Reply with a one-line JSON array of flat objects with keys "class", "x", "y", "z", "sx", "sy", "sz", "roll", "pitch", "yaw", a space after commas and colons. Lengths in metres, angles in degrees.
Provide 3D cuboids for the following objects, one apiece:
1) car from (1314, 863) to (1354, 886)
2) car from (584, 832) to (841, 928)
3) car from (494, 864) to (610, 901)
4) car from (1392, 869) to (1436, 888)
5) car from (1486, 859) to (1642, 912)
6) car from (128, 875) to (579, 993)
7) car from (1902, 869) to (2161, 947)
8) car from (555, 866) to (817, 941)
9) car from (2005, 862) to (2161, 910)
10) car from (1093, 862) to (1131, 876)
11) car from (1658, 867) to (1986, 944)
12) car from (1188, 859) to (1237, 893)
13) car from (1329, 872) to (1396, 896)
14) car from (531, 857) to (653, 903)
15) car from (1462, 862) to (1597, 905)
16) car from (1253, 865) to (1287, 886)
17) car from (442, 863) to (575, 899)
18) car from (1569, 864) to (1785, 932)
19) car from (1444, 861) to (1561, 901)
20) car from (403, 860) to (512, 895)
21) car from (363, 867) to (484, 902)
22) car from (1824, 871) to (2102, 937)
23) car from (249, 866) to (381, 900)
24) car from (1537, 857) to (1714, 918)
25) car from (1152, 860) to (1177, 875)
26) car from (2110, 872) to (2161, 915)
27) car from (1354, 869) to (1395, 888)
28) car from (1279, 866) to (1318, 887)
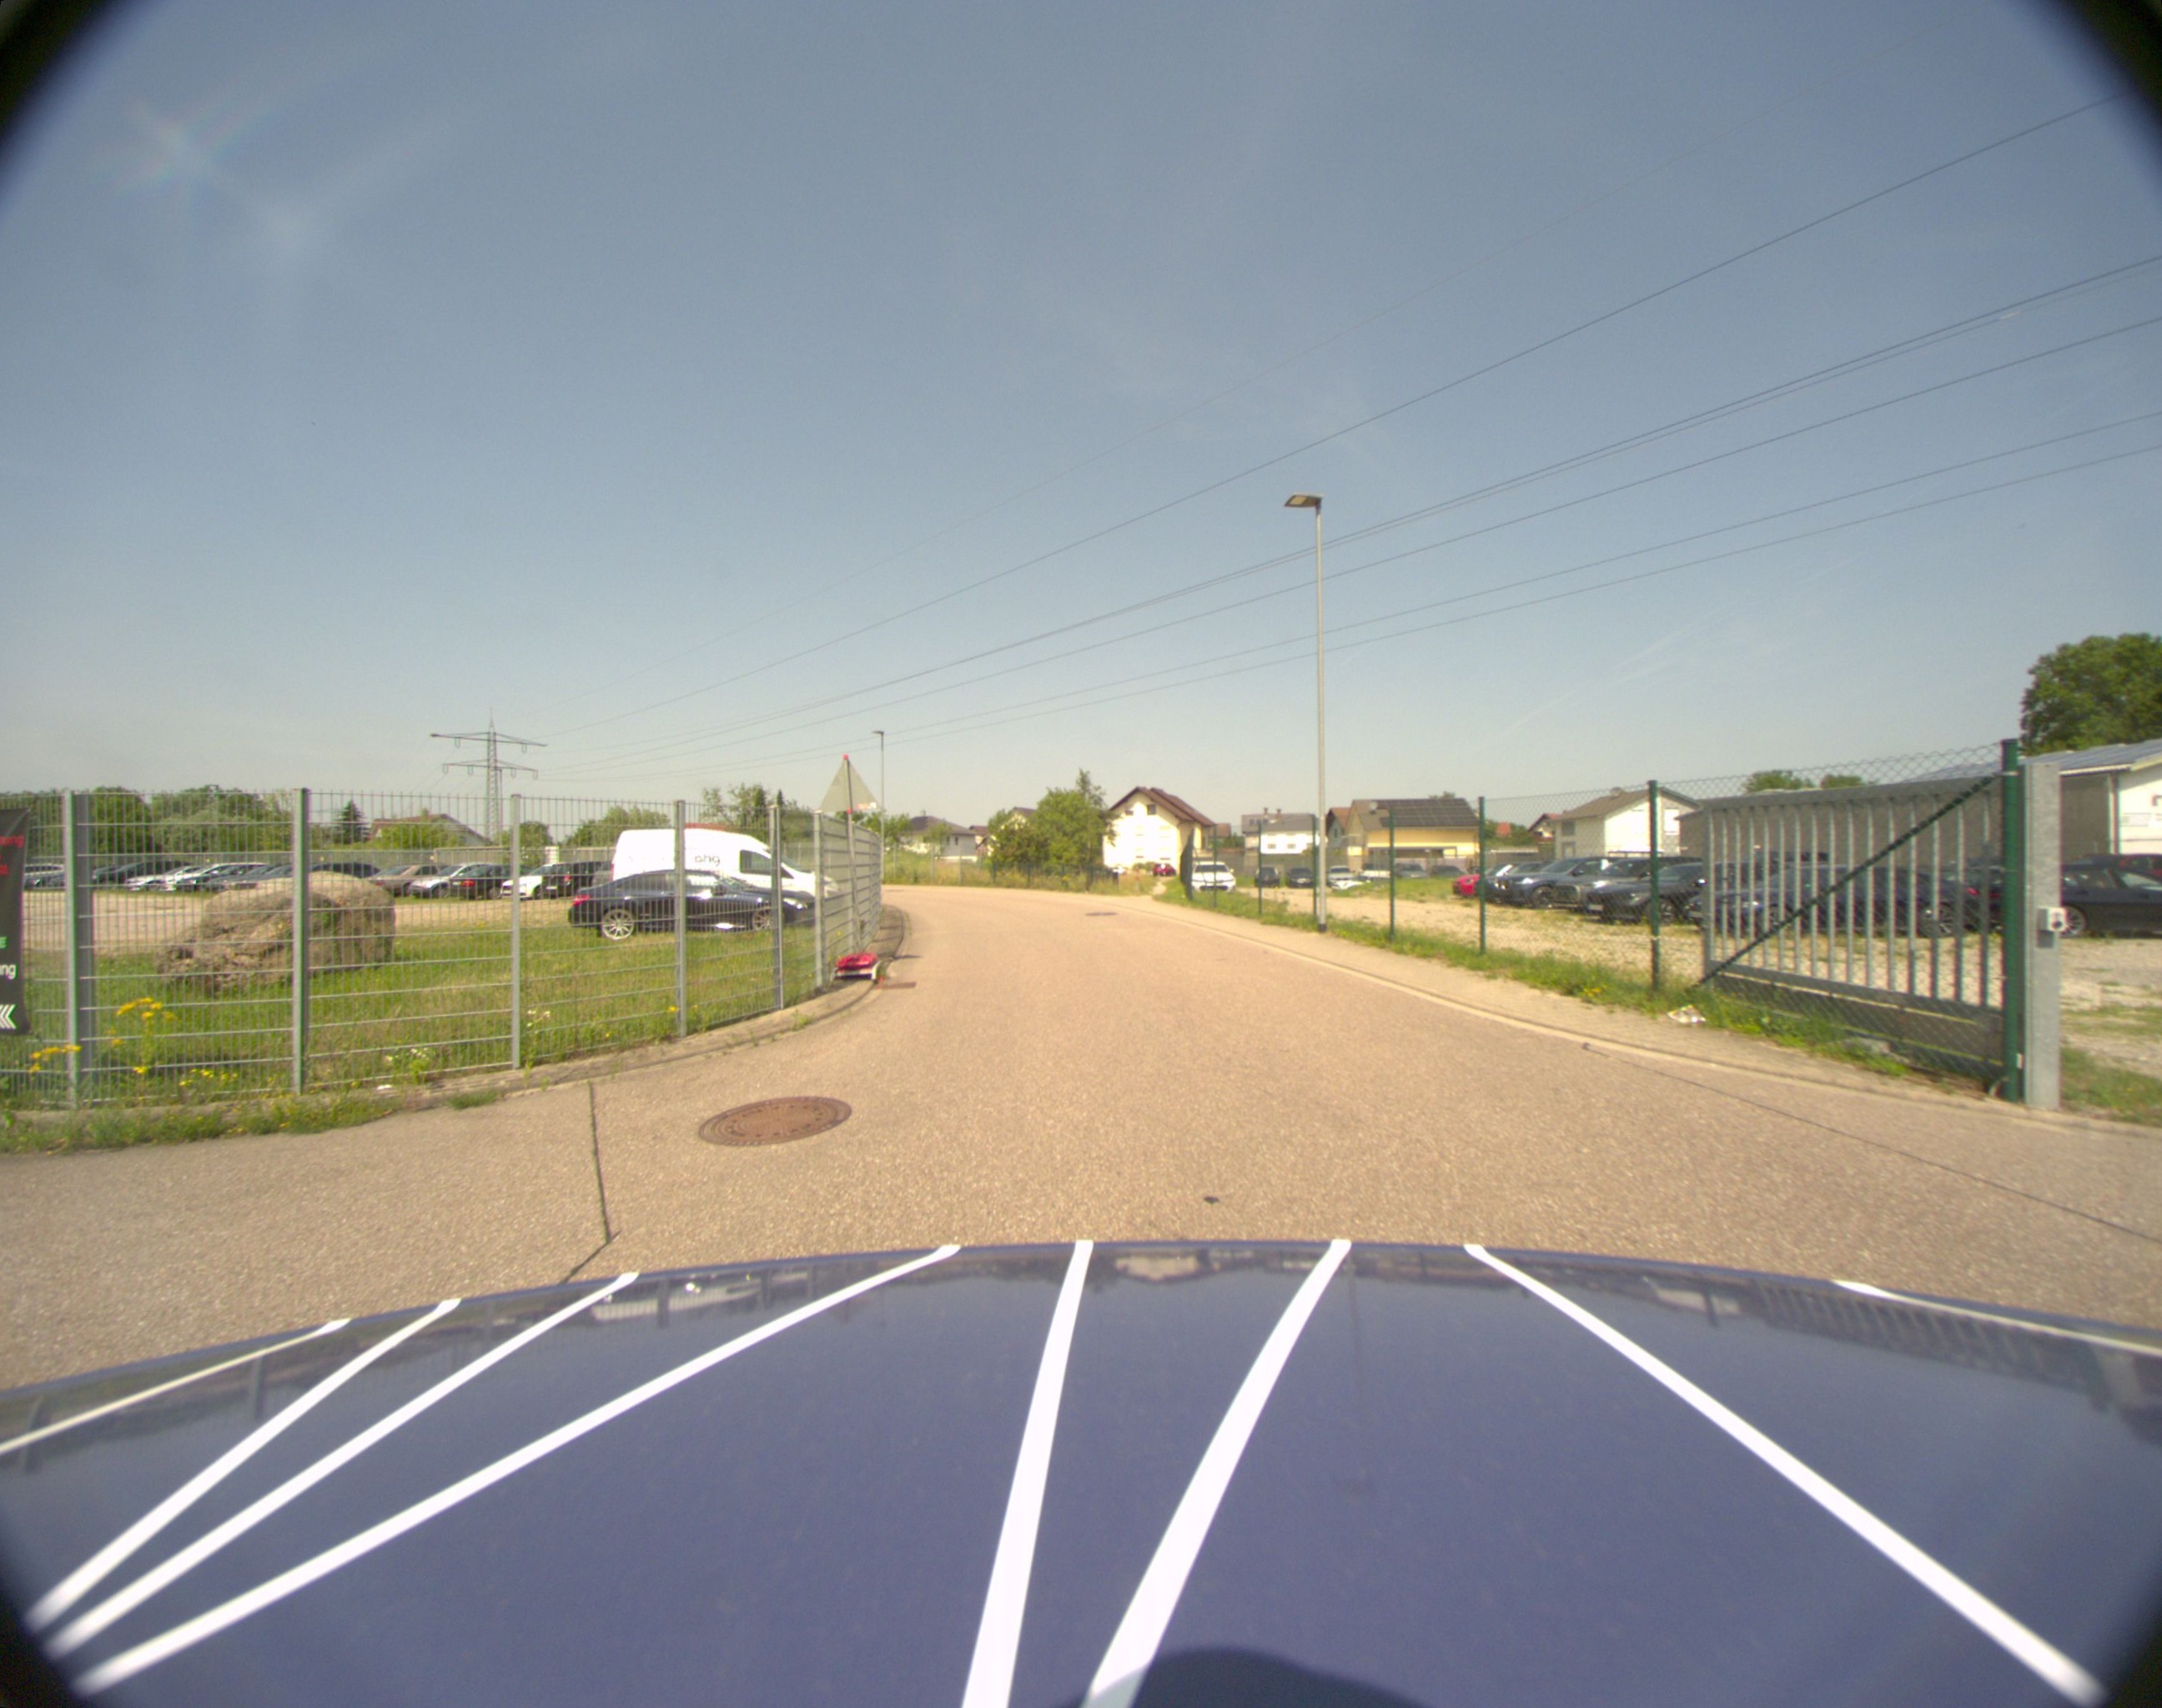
[{"class": "car", "x": 18.401, "y": 1.458, "z": 55.441, "sx": 2.039, "sy": 1.527, "sz": 4.137, "roll": 0, "pitch": 0, "yaw": 7}, {"class": "car", "x": -8.678, "y": 0.560, "z": 18.487, "sx": 5.346, "sy": 2.136, "sz": 1.904, "roll": 0, "pitch": 0, "yaw": -16}, {"class": "car", "x": -21.522, "y": 1.115, "z": 31.045, "sx": 1.632, "sy": 1.381, "sz": 3.541, "roll": 0, "pitch": 0, "yaw": 23}, {"class": "car", "x": 23.946, "y": 1.757, "z": 54.765, "sx": 1.791, "sy": 1.229, "sz": 4.137, "roll": 0, "pitch": 0, "yaw": 7}, {"class": "car", "x": 15.098, "y": 0.959, "z": 23.947, "sx": 3.692, "sy": 1.552, "sz": 1.869, "roll": 0, "pitch": 1, "yaw": 6}, {"class": "car", "x": -9.384, "y": 0.968, "z": 10.250, "sx": 3.931, "sy": 1.270, "sz": 1.904, "roll": 0, "pitch": 0, "yaw": -16}, {"class": "car", "x": 20.262, "y": 1.060, "z": 15.534, "sx": 4.415, "sy": 1.427, "sz": 2.003, "roll": 0, "pitch": 0, "yaw": 10}, {"class": "car", "x": -7.908, "y": 0.945, "z": 15.683, "sx": 4.436, "sy": 1.352, "sz": 1.905, "roll": 0, "pitch": 0, "yaw": -12}, {"class": "car", "x": 32.896, "y": 0.997, "z": 24.091, "sx": 4.598, "sy": 1.425, "sz": 1.869, "roll": 0, "pitch": 0, "yaw": 6}, {"class": "car", "x": 3.658, "y": 1.751, "z": 89.212, "sx": 4.076, "sy": 1.674, "sz": 1.868, "roll": 0, "pitch": 0, "yaw": 23}, {"class": "car", "x": 15.192, "y": 1.013, "z": 15.857, "sx": 4.659, "sy": 1.427, "sz": 2.003, "roll": 0, "pitch": 0, "yaw": 6}, {"class": "car", "x": 5.613, "y": 0.887, "z": 32.869, "sx": 1.866, "sy": 1.299, "sz": 4.564, "roll": 0, "pitch": 0, "yaw": 7}, {"class": "car", "x": 16.459, "y": 1.734, "z": 44.486, "sx": 3.387, "sy": 1.307, "sz": 1.659, "roll": 0, "pitch": 0, "yaw": 7}, {"class": "car", "x": -19.259, "y": 0.970, "z": 30.099, "sx": 1.747, "sy": 1.470, "sz": 3.664, "roll": 2, "pitch": 4, "yaw": 23}, {"class": "car", "x": 15.669, "y": 0.994, "z": 26.724, "sx": 3.644, "sy": 1.425, "sz": 1.869, "roll": 0, "pitch": 0, "yaw": 6}, {"class": "car", "x": 13.773, "y": 1.549, "z": 55.677, "sx": 1.866, "sy": 1.363, "sz": 4.564, "roll": 0, "pitch": 0, "yaw": 7}, {"class": "car", "x": -24.168, "y": 1.102, "z": 32.285, "sx": 1.719, "sy": 1.346, "sz": 4.204, "roll": 0, "pitch": 1, "yaw": 23}, {"class": "car", "x": 14.554, "y": 1.027, "z": 18.759, "sx": 3.766, "sy": 1.545, "sz": 1.869, "roll": 0, "pitch": 1, "yaw": 6}, {"class": "car", "x": 15.981, "y": 0.998, "z": 28.959, "sx": 3.436, "sy": 1.445, "sz": 1.869, "roll": 0, "pitch": 0, "yaw": 6}, {"class": "car", "x": -26.700, "y": 0.974, "z": 32.648, "sx": 1.524, "sy": 1.346, "sz": 3.283, "roll": 0, "pitch": 1, "yaw": 21}, {"class": "car", "x": -29.152, "y": 1.319, "z": 33.811, "sx": 1.736, "sy": 1.346, "sz": 3.681, "roll": 0, "pitch": 1, "yaw": 24}, {"class": "car", "x": 20.776, "y": 1.142, "z": 18.097, "sx": 3.994, "sy": 1.412, "sz": 2.001, "roll": 0, "pitch": 0, "yaw": 8}, {"class": "car", "x": -37.554, "y": 1.384, "z": 37.382, "sx": 1.634, "sy": 1.330, "sz": 4.182, "roll": 0, "pitch": 3, "yaw": 22}, {"class": "car", "x": 15.336, "y": 0.900, "z": 21.576, "sx": 3.629, "sy": 1.634, "sz": 1.869, "roll": 0, "pitch": 1, "yaw": 6}, {"class": "car", "x": 10.043, "y": 1.573, "z": 90.822, "sx": 1.862, "sy": 1.718, "sz": 4.142, "roll": 0, "pitch": 0, "yaw": 24}, {"class": "car", "x": 32.388, "y": 1.109, "z": 21.127, "sx": 4.598, "sy": 1.168, "sz": 1.869, "roll": 0, "pitch": 0, "yaw": 6}, {"class": "car", "x": 21.288, "y": 1.728, "z": 55.249, "sx": 1.791, "sy": 1.229, "sz": 4.137, "roll": 0, "pitch": 0, "yaw": 7}, {"class": "car", "x": 15.877, "y": 1.616, "z": 55.708, "sx": 2.039, "sy": 1.335, "sz": 4.419, "roll": 0, "pitch": 0, "yaw": 7}]
